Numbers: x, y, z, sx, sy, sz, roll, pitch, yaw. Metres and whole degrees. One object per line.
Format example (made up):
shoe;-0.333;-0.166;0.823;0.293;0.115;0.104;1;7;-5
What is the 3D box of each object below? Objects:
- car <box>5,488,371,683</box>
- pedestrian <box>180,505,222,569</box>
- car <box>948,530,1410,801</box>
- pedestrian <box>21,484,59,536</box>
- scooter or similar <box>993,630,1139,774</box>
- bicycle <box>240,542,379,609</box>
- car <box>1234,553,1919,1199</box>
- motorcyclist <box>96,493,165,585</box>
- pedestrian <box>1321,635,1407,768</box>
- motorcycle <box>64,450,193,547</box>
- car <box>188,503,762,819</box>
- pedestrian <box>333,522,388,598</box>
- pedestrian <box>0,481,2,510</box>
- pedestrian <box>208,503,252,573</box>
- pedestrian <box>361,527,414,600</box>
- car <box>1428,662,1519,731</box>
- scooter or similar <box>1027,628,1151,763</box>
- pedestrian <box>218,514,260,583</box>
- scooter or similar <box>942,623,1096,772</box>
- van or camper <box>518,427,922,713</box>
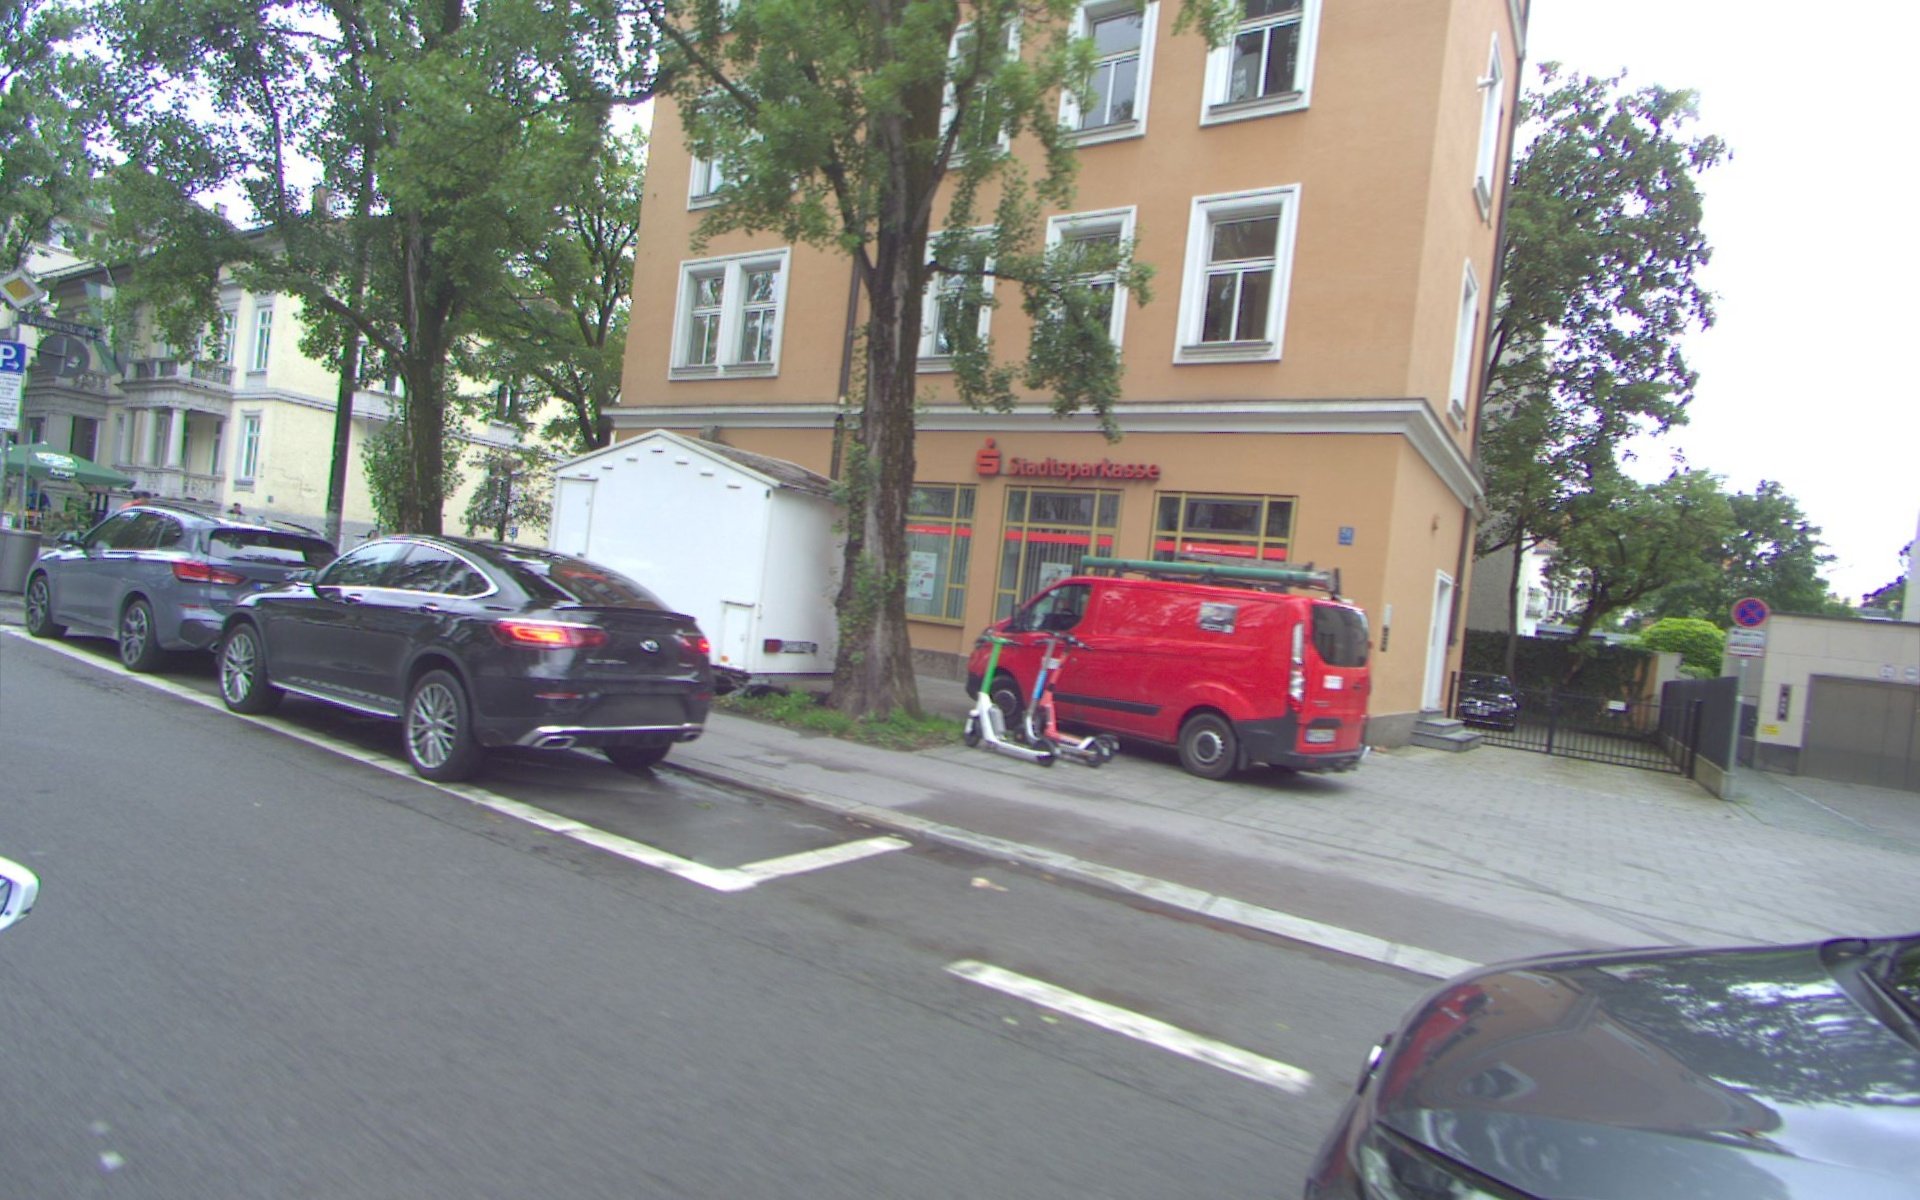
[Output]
car;-8.402;-0.203;10.840;4.299;1.585;1.625;7;1;32
pedestrian;-21.042;-1.752;27.895;0.755;1.666;0.647;6;-1;42
car;2.312;0.566;11.682;4.761;2.358;1.896;7;1;44
pedestrian;-35.294;-3.444;38.586;0.727;1.877;0.761;7;1;29
scooter or similar;1.054;1.003;10.275;0.484;1.249;1.388;3;3;-45
bicycle;-12.338;-0.451;19.151;0.681;1.036;2.051;7;0;40
car;2.586;1.012;1.084;4.115;1.633;1.763;6;-1;32
motorcyclist;-13.788;-1.017;16.725;0.753;1.425;0.564;7;2;29
pedestrian;5.173;1.281;12.915;0.701;1.571;0.606;6;2;4
motorcycle;-13.802;-1.688;16.688;2.214;1.387;0.827;7;2;29
car;-3.955;0.307;7.956;4.507;1.662;1.882;7;1;32
pedestrian;-14.006;-0.925;23.521;0.763;1.648;0.687;7;1;30
pedestrian;-42.374;-4.372;43.666;0.805;1.778;0.927;5;2;-25
pedestrian;-20.794;-1.771;28.667;0.755;1.895;0.700;6;-1;41
pedestrian;-13.784;-0.874;24.227;0.763;1.648;0.687;7;1;30
car;13.944;2.552;27.187;1.724;1.473;4.119;7;0;32
scooter or similar;1.355;0.985;10.706;0.484;1.249;1.153;3;3;-45
pedestrian;-18.267;-1.302;25.498;0.663;1.671;0.621;6;1;-31
scooter or similar;0.566;0.937;10.038;0.523;1.249;1.458;3;3;-45
van or camper;-3.240;-0.472;13.361;4.639;3.152;2.461;7;1;33
